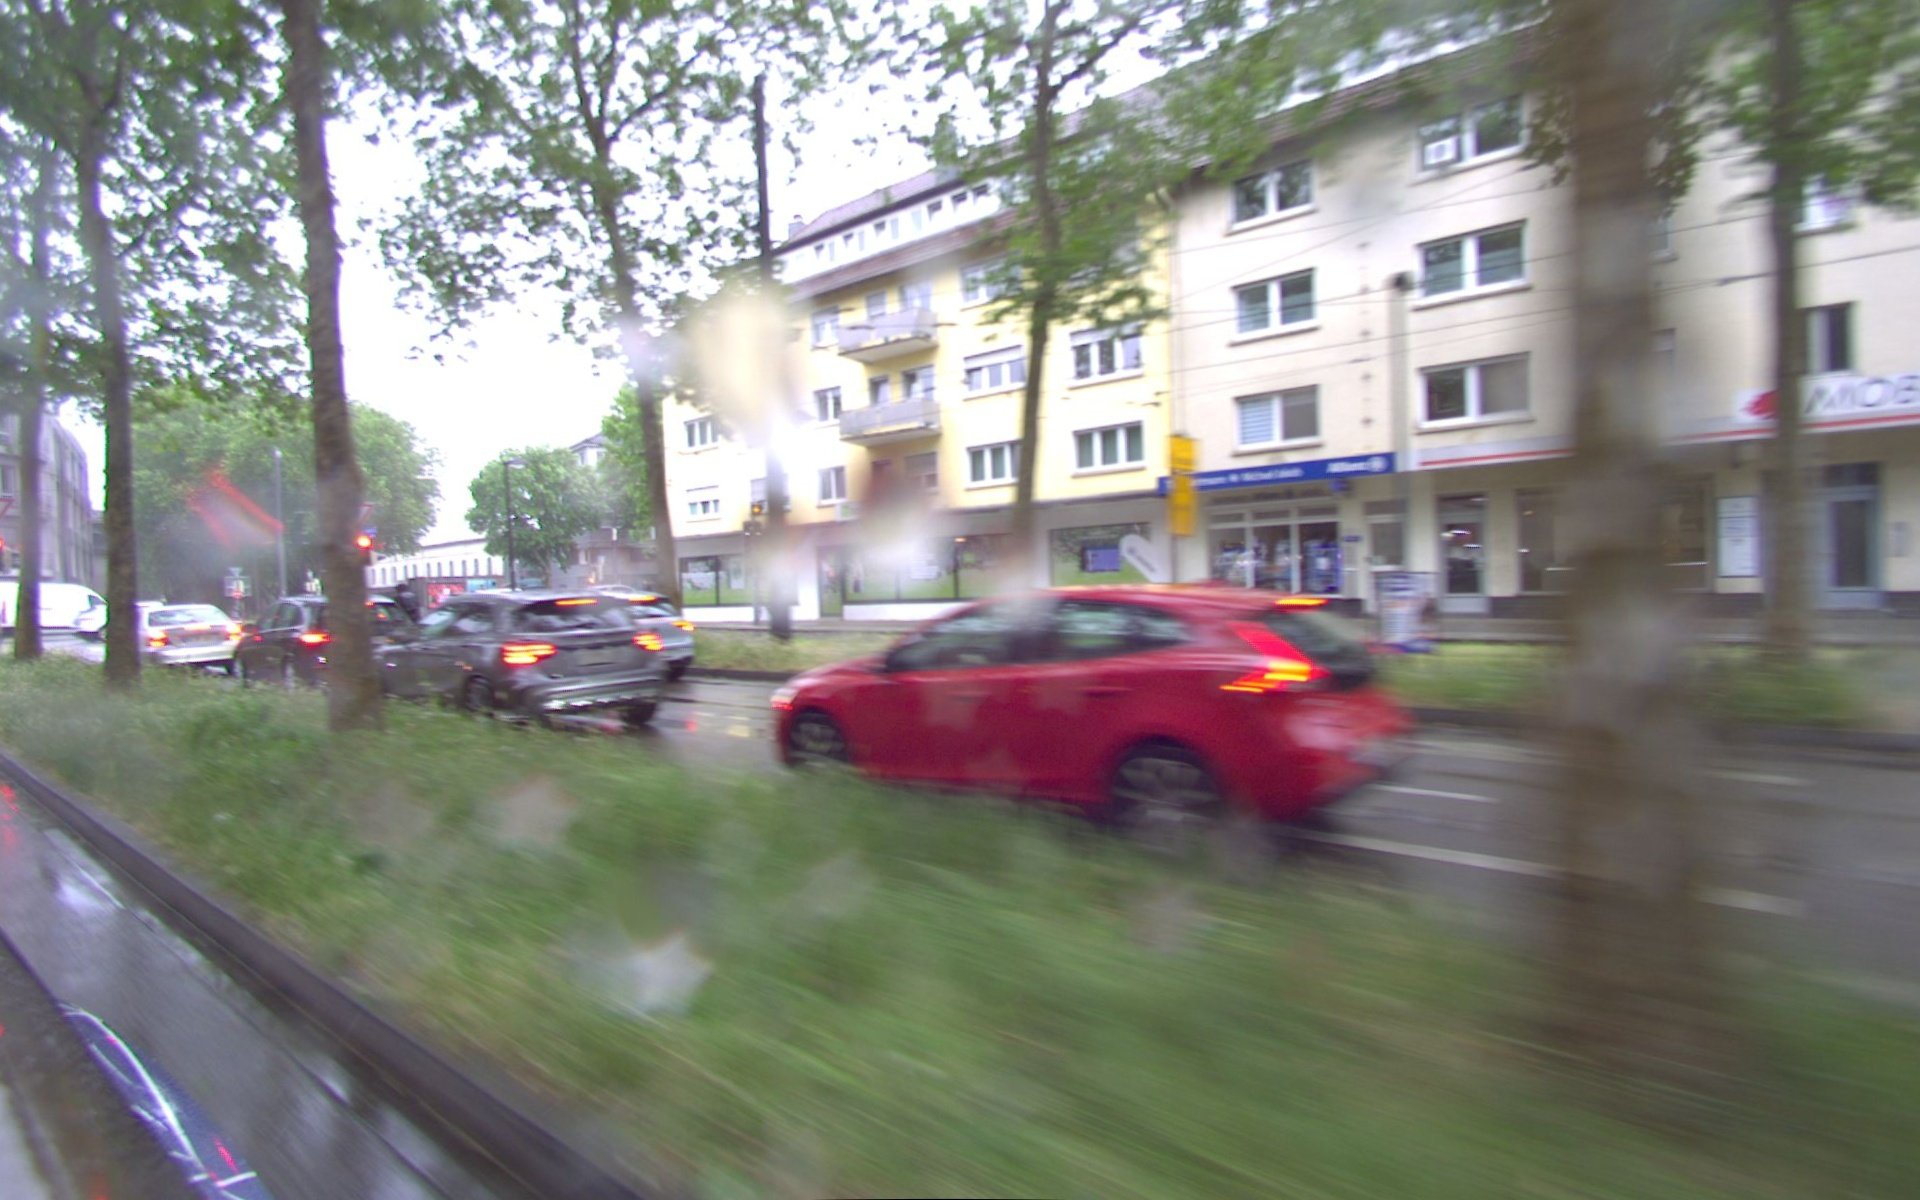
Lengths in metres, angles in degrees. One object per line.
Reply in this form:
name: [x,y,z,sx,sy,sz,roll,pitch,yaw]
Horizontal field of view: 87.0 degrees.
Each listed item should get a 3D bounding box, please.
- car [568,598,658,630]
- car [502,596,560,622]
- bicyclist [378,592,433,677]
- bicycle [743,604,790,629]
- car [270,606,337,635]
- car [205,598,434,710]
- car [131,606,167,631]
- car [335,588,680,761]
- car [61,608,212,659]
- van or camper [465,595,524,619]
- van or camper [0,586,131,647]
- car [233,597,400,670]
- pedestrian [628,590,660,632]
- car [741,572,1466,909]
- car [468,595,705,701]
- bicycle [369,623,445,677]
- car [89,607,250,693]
car: [-19.856,0.763,58.115,1.910,1.659,4.624,0,1,35]
car: [-36.869,0.763,87.022,4.324,2.028,2.073,-2,1,-33]
bicyclist: [-11.689,0.709,21.324,0.888,1.729,0.705,0,1,38]
bicycle: [-7.168,0.619,37.429,2.045,0.903,0.605,-1,1,42]
car: [-40.577,1.244,62.694,1.780,1.599,4.079,-2,1,-5]
car: [-10.376,0.792,16.245,4.637,1.496,1.837,-2,1,41]
car: [-60.927,1.349,76.066,1.972,1.785,4.009,-1,0,-37]
car: [-5.092,0.694,11.076,4.429,1.491,1.723,-2,1,41]
car: [-32.381,1.252,39.921,1.970,1.754,4.221,0,2,32]
van or camper: [-42.673,0.609,92.784,4.581,2.091,2.003,0,0,-40]
van or camper: [-40.411,0.680,44.723,2.156,2.489,5.957,-1,1,7]
car: [-15.087,0.756,23.671,4.276,1.513,1.857,-2,1,36]
pedestrian: [-12.944,0.450,41.410,1.000,1.690,0.816,-2,0,-37]
car: [0.641,0.624,6.354,4.230,1.408,1.723,-2,1,41]
car: [-5.994,0.705,16.016,4.128,1.408,1.723,-2,1,41]
bicycle: [-11.649,1.030,21.299,1.813,1.039,0.711,0,1,38]
car: [-16.076,0.957,20.502,4.498,1.500,1.717,-2,1,41]
